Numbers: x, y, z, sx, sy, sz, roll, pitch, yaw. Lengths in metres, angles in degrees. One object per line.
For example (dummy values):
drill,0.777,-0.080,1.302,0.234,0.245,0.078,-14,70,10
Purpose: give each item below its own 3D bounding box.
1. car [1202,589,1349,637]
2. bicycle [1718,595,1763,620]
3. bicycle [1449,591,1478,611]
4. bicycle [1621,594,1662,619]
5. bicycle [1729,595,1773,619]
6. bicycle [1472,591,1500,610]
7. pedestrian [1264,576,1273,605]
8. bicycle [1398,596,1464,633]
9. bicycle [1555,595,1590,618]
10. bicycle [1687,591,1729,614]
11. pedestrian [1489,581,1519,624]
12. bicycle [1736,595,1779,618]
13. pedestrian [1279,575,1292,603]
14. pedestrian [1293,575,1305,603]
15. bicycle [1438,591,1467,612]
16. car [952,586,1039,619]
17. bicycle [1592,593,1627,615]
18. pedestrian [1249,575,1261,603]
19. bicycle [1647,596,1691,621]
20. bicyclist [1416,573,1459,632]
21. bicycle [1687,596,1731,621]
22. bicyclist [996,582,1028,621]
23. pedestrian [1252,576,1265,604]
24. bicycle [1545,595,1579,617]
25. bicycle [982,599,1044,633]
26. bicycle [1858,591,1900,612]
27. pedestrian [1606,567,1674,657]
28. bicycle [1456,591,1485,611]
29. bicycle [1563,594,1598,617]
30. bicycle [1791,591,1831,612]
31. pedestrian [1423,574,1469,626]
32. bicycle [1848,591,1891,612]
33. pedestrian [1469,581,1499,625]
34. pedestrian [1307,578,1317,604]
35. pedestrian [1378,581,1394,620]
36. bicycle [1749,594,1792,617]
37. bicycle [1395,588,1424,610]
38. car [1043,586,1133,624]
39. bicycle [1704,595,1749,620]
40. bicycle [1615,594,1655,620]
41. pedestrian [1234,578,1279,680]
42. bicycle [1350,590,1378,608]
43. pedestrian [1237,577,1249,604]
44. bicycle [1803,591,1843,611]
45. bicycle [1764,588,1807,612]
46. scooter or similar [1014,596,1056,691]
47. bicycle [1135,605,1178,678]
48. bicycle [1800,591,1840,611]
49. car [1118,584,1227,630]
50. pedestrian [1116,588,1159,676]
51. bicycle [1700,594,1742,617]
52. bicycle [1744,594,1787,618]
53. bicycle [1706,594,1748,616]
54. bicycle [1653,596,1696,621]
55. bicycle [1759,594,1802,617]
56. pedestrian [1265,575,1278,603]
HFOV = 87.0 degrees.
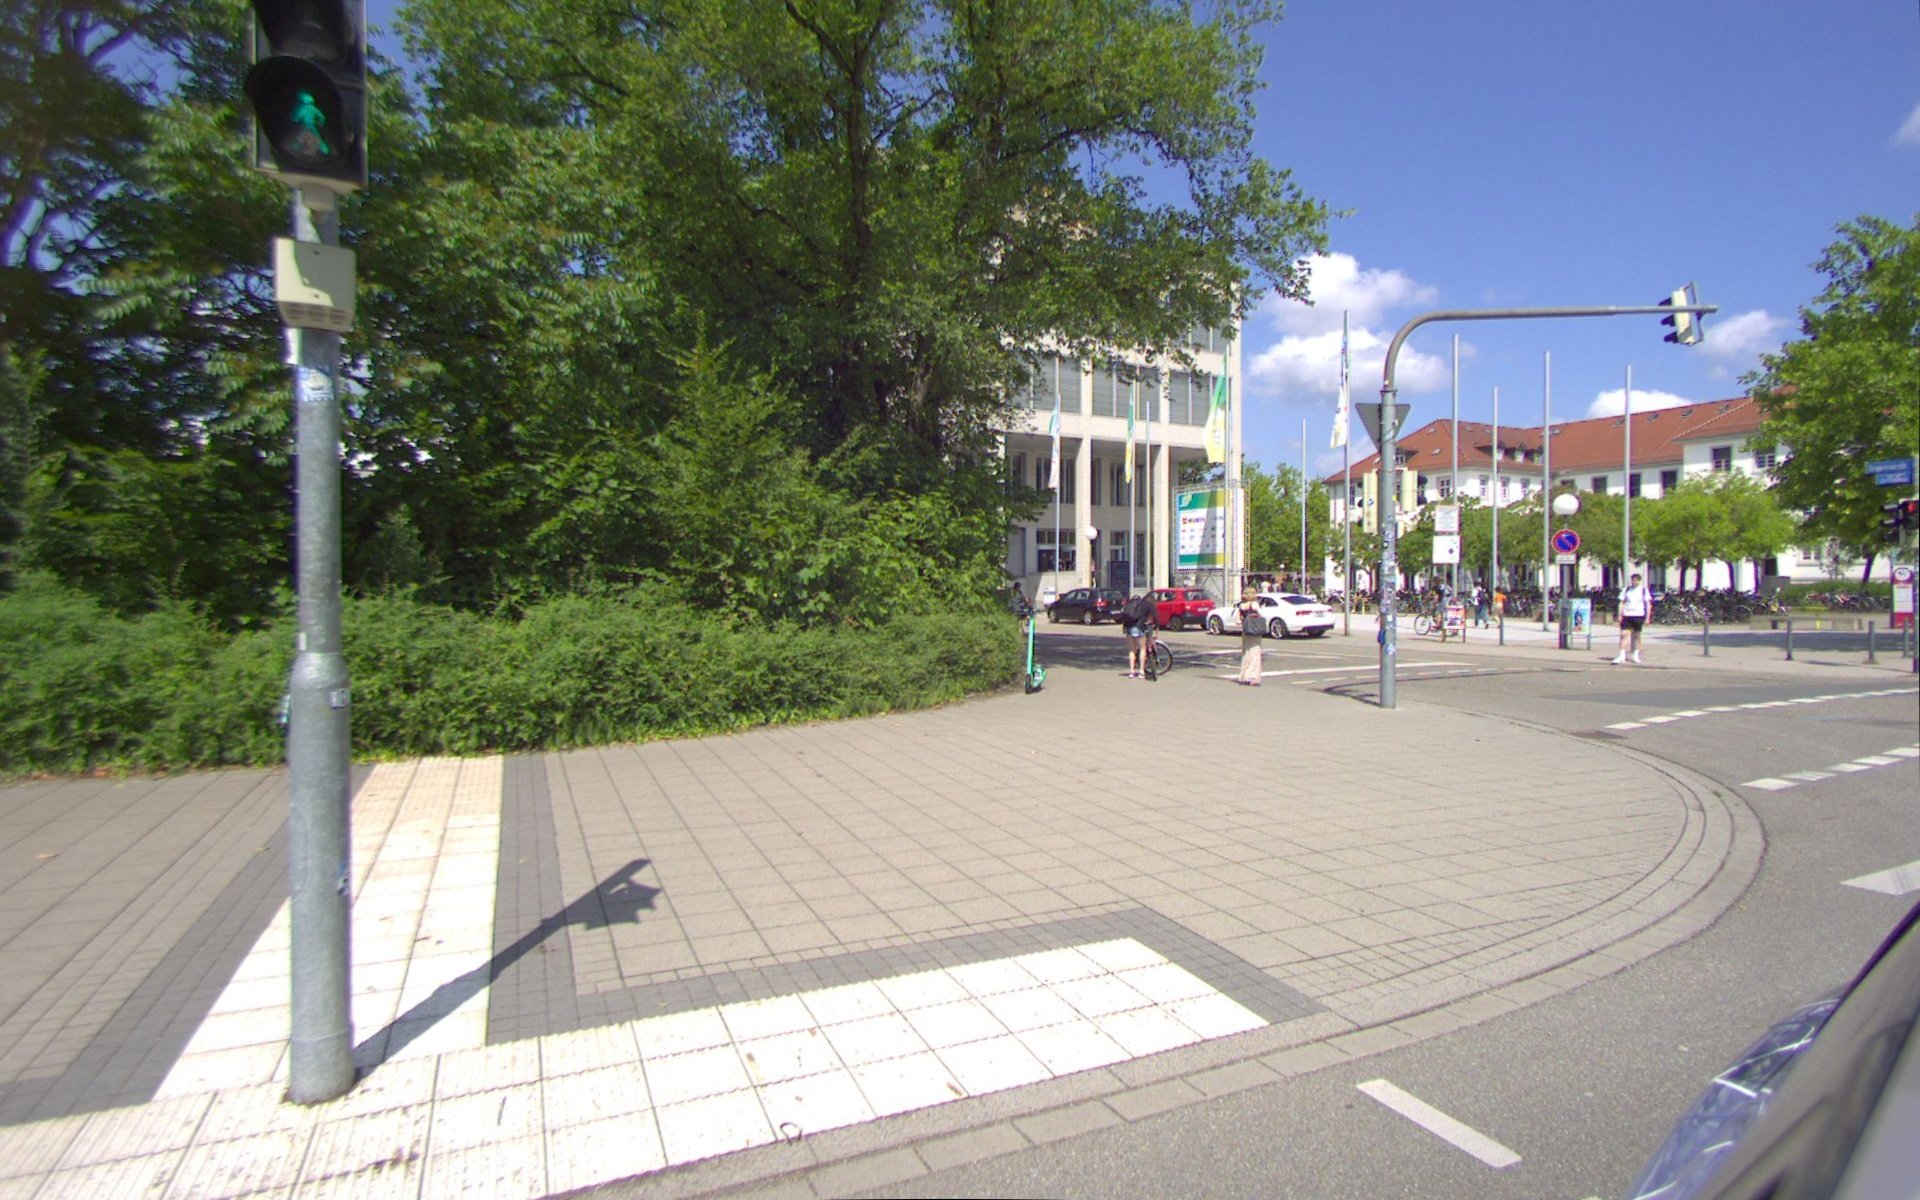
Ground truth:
car,9.896,0.358,32.091,1.797,1.415,4.447,0,1,-30
bicycle,31.014,0.296,40.229,0.345,0.963,1.373,0,0,-31
bicycle,24.483,0.048,49.218,0.345,0.963,1.374,0,0,-22
bicycle,28.183,0.267,41.862,0.345,1.013,1.373,0,0,-31
bicycle,32.422,0.291,41.487,0.345,0.963,1.373,0,0,-31
bicycle,26.448,0.023,50.881,0.345,0.963,1.374,0,0,-22
pedestrian,18.609,-0.566,61.069,0.469,1.735,0.379,0,0,31
bicycle,15.365,0.447,33.078,0.676,1.148,2.058,0,0,-20
bicycle,26.754,0.267,44.243,0.345,0.963,1.374,0,0,-22
bicycle,31.851,0.100,43.108,0.345,0.963,1.414,0,0,-31
pedestrian,20.655,0.086,38.418,0.671,1.642,0.835,-1,0,-2
bicycle,32.963,0.260,41.829,0.345,0.963,1.373,0,0,-31
pedestrian,22.380,-0.756,69.612,0.669,1.926,0.794,0,0,30
pedestrian,23.434,-0.774,69.944,0.669,1.926,0.794,0,0,30
bicycle,23.844,0.062,49.025,0.345,0.963,1.374,0,0,-22
car,1.598,0.078,47.068,1.962,1.458,4.405,-1,1,-31
bicycle,30.021,0.174,46.794,0.345,0.963,1.372,0,0,-34
pedestrian,20.541,-0.750,70.499,0.669,1.926,0.794,0,0,30
bicycle,27.642,0.315,39.463,0.345,0.963,1.373,0,0,-31
bicyclist,15.465,0.080,32.789,0.670,1.877,1.090,-1,1,-21
bicycle,29.656,0.314,40.069,0.345,0.963,1.373,0,0,-31
bicyclist,1.657,0.036,32.231,0.608,1.241,0.832,0,0,-42
pedestrian,20.799,-0.683,70.517,0.669,1.926,0.794,0,0,30
bicycle,26.292,0.260,44.220,0.345,0.963,1.374,0,0,-22
bicycle,1.663,0.498,32.233,0.636,1.011,2.159,0,0,-42
bicycle,42.568,0.045,46.894,0.345,0.963,1.430,0,0,-31
pedestrian,14.716,0.245,21.906,0.952,1.896,0.880,0,0,-30
bicycle,24.935,0.037,49.439,0.345,0.963,1.374,0,0,-22
bicycle,27.259,0.232,44.459,0.345,0.963,1.374,0,0,-22
bicycle,40.382,0.050,48.035,0.345,0.963,1.430,0,0,-31
pedestrian,17.811,0.023,37.104,0.686,1.872,1.323,0,-1,-28
bicycle,41.643,0.065,46.353,0.345,0.963,1.430,0,0,-31
pedestrian,19.832,0.092,38.305,0.672,1.642,0.835,-1,0,0
pedestrian,21.054,-0.555,60.539,0.465,1.555,0.560,-1,0,11
pedestrian,17.638,0.019,41.896,0.530,1.610,0.434,0,0,11
bicycle,33.941,0.223,42.394,0.345,0.963,1.373,0,0,-31
bicycle,22.658,-0.054,51.039,0.345,1.088,1.371,0,0,-37
car,5.176,0.174,41.321,1.707,1.465,3.935,-1,1,-28
bicycle,30.327,0.285,40.061,0.345,0.963,1.373,0,0,-31
bicycle,27.751,0.284,41.615,0.345,1.013,1.373,0,0,-31
pedestrian,4.883,0.467,16.711,0.635,1.647,0.634,0,0,10
bicycle,21.634,-0.072,54.204,0.345,0.963,1.371,0,0,-37
pedestrian,19.906,-0.686,71.233,0.669,1.926,0.794,0,0,30
bicycle,41.333,0.031,48.495,0.345,0.963,1.430,0,0,-31
bicycle,34.949,-0.005,42.868,0.345,0.963,1.373,0,0,-31
scooter or similar,1.055,0.576,14.125,0.430,1.249,1.227,2,1,10
bicycle,3.361,0.675,17.345,0.661,1.157,1.658,2,0,11
bicycle,40.995,0.039,48.268,0.345,0.963,1.430,0,0,-31
car,7.645,0.221,36.662,1.738,1.576,3.820,-1,1,-31
pedestrian,3.029,0.528,17.303,0.645,1.435,0.786,2,1,10
bicycle,32.837,0.215,43.681,0.345,0.963,1.414,0,0,-31
bicycle,33.532,0.233,42.135,0.345,0.963,1.373,0,0,-31
bicycle,33.270,0.205,43.914,0.345,0.963,1.414,0,0,-31
bicycle,28.094,0.322,39.805,0.345,0.958,1.373,0,0,-31
bicycle,34.436,0.216,42.509,0.345,0.963,1.373,0,0,-31
pedestrian,21.591,-0.775,70.089,0.669,1.926,0.794,0,0,30
